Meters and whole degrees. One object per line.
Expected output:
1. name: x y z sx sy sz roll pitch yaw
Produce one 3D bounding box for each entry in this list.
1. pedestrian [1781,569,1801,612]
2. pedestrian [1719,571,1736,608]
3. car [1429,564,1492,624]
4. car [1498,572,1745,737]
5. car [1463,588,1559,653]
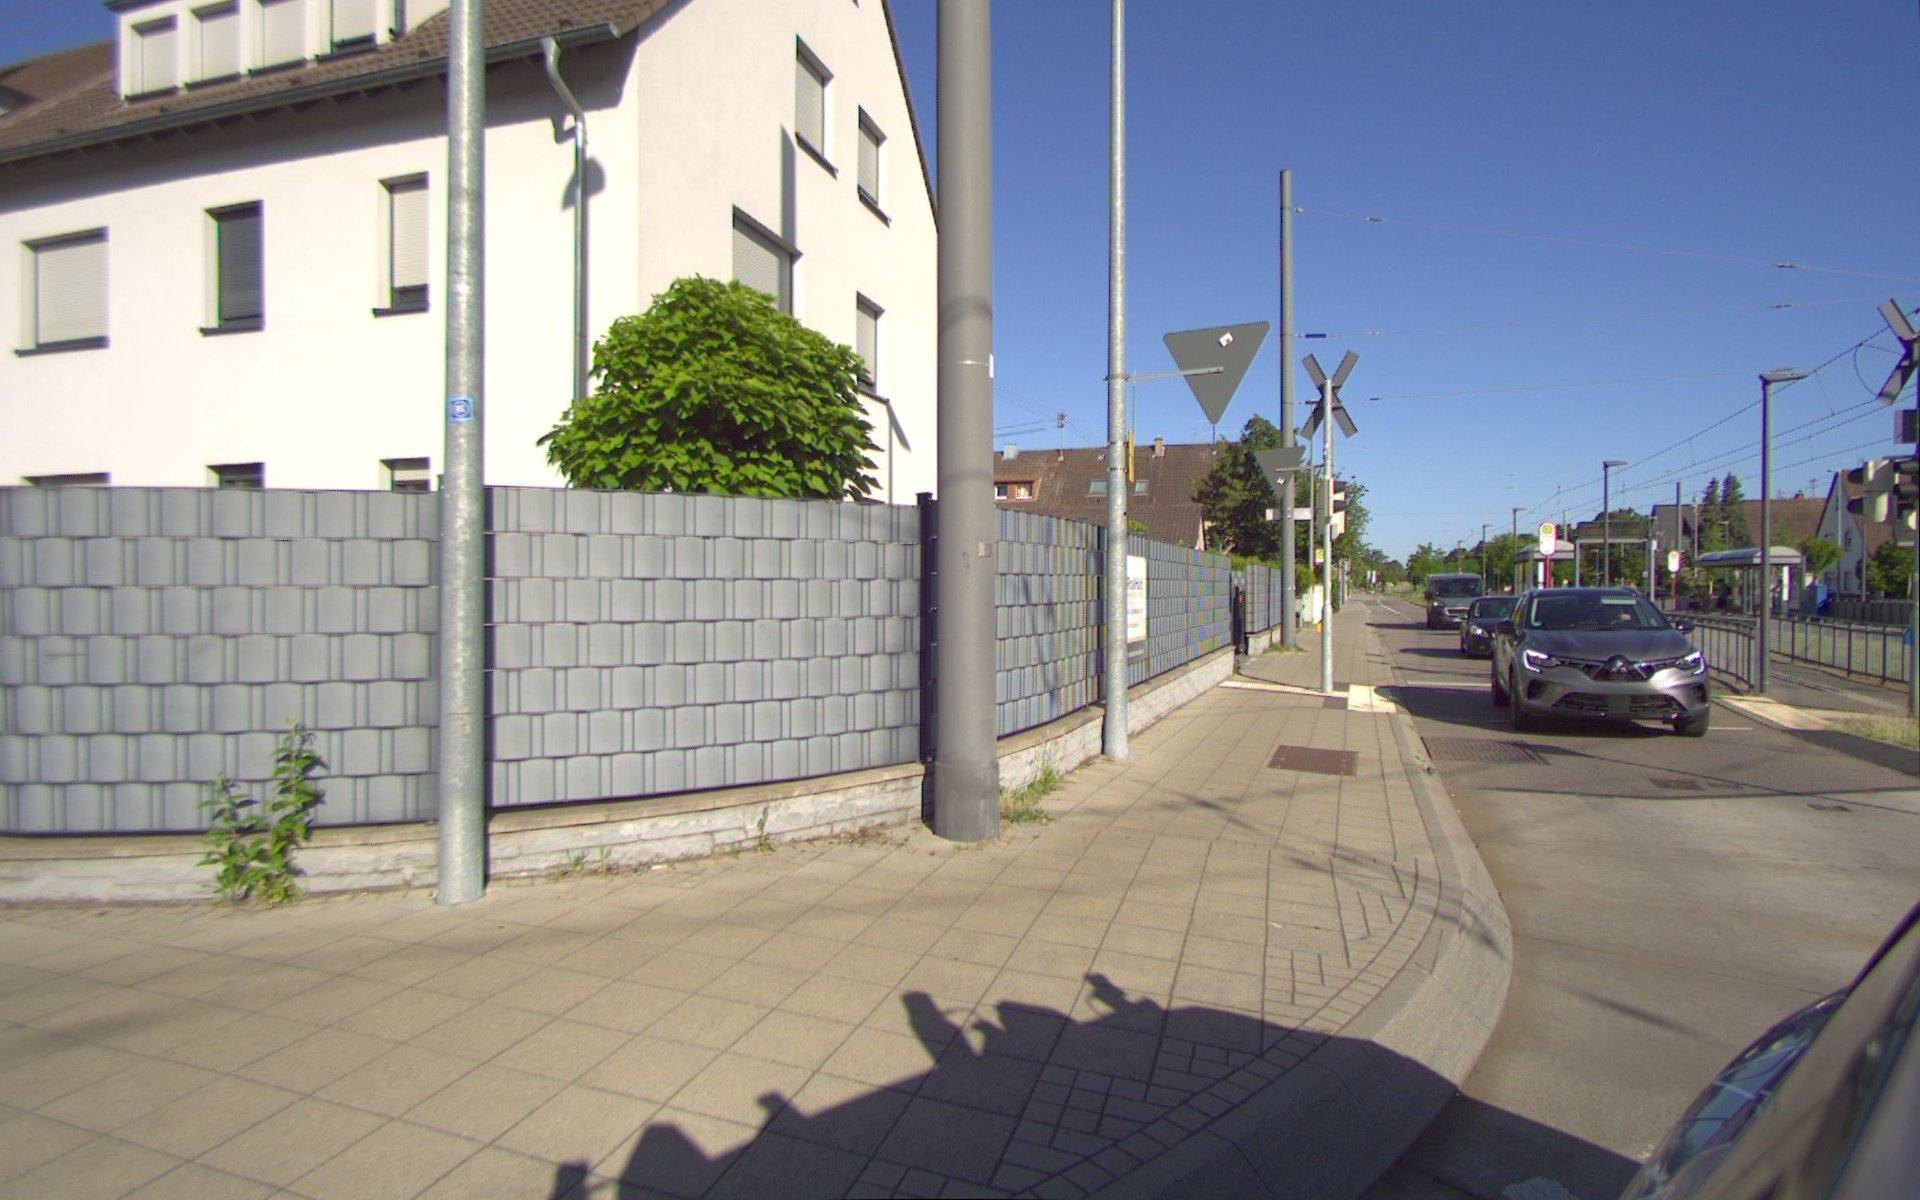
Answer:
1. pedestrian: 35.051 -0.399 42.683 0.621 1.774 0.435 0 0 43
2. pedestrian: 37.543 -0.510 49.533 0.529 1.774 0.539 0 0 23
3. car: 20.175 -0.237 40.950 2.069 2.268 4.683 -1 0 24
4. car: 7.576 0.518 12.001 1.811 1.599 3.967 -1 0 24
5. car: 13.003 0.441 24.082 1.670 1.404 3.967 -1 0 24
